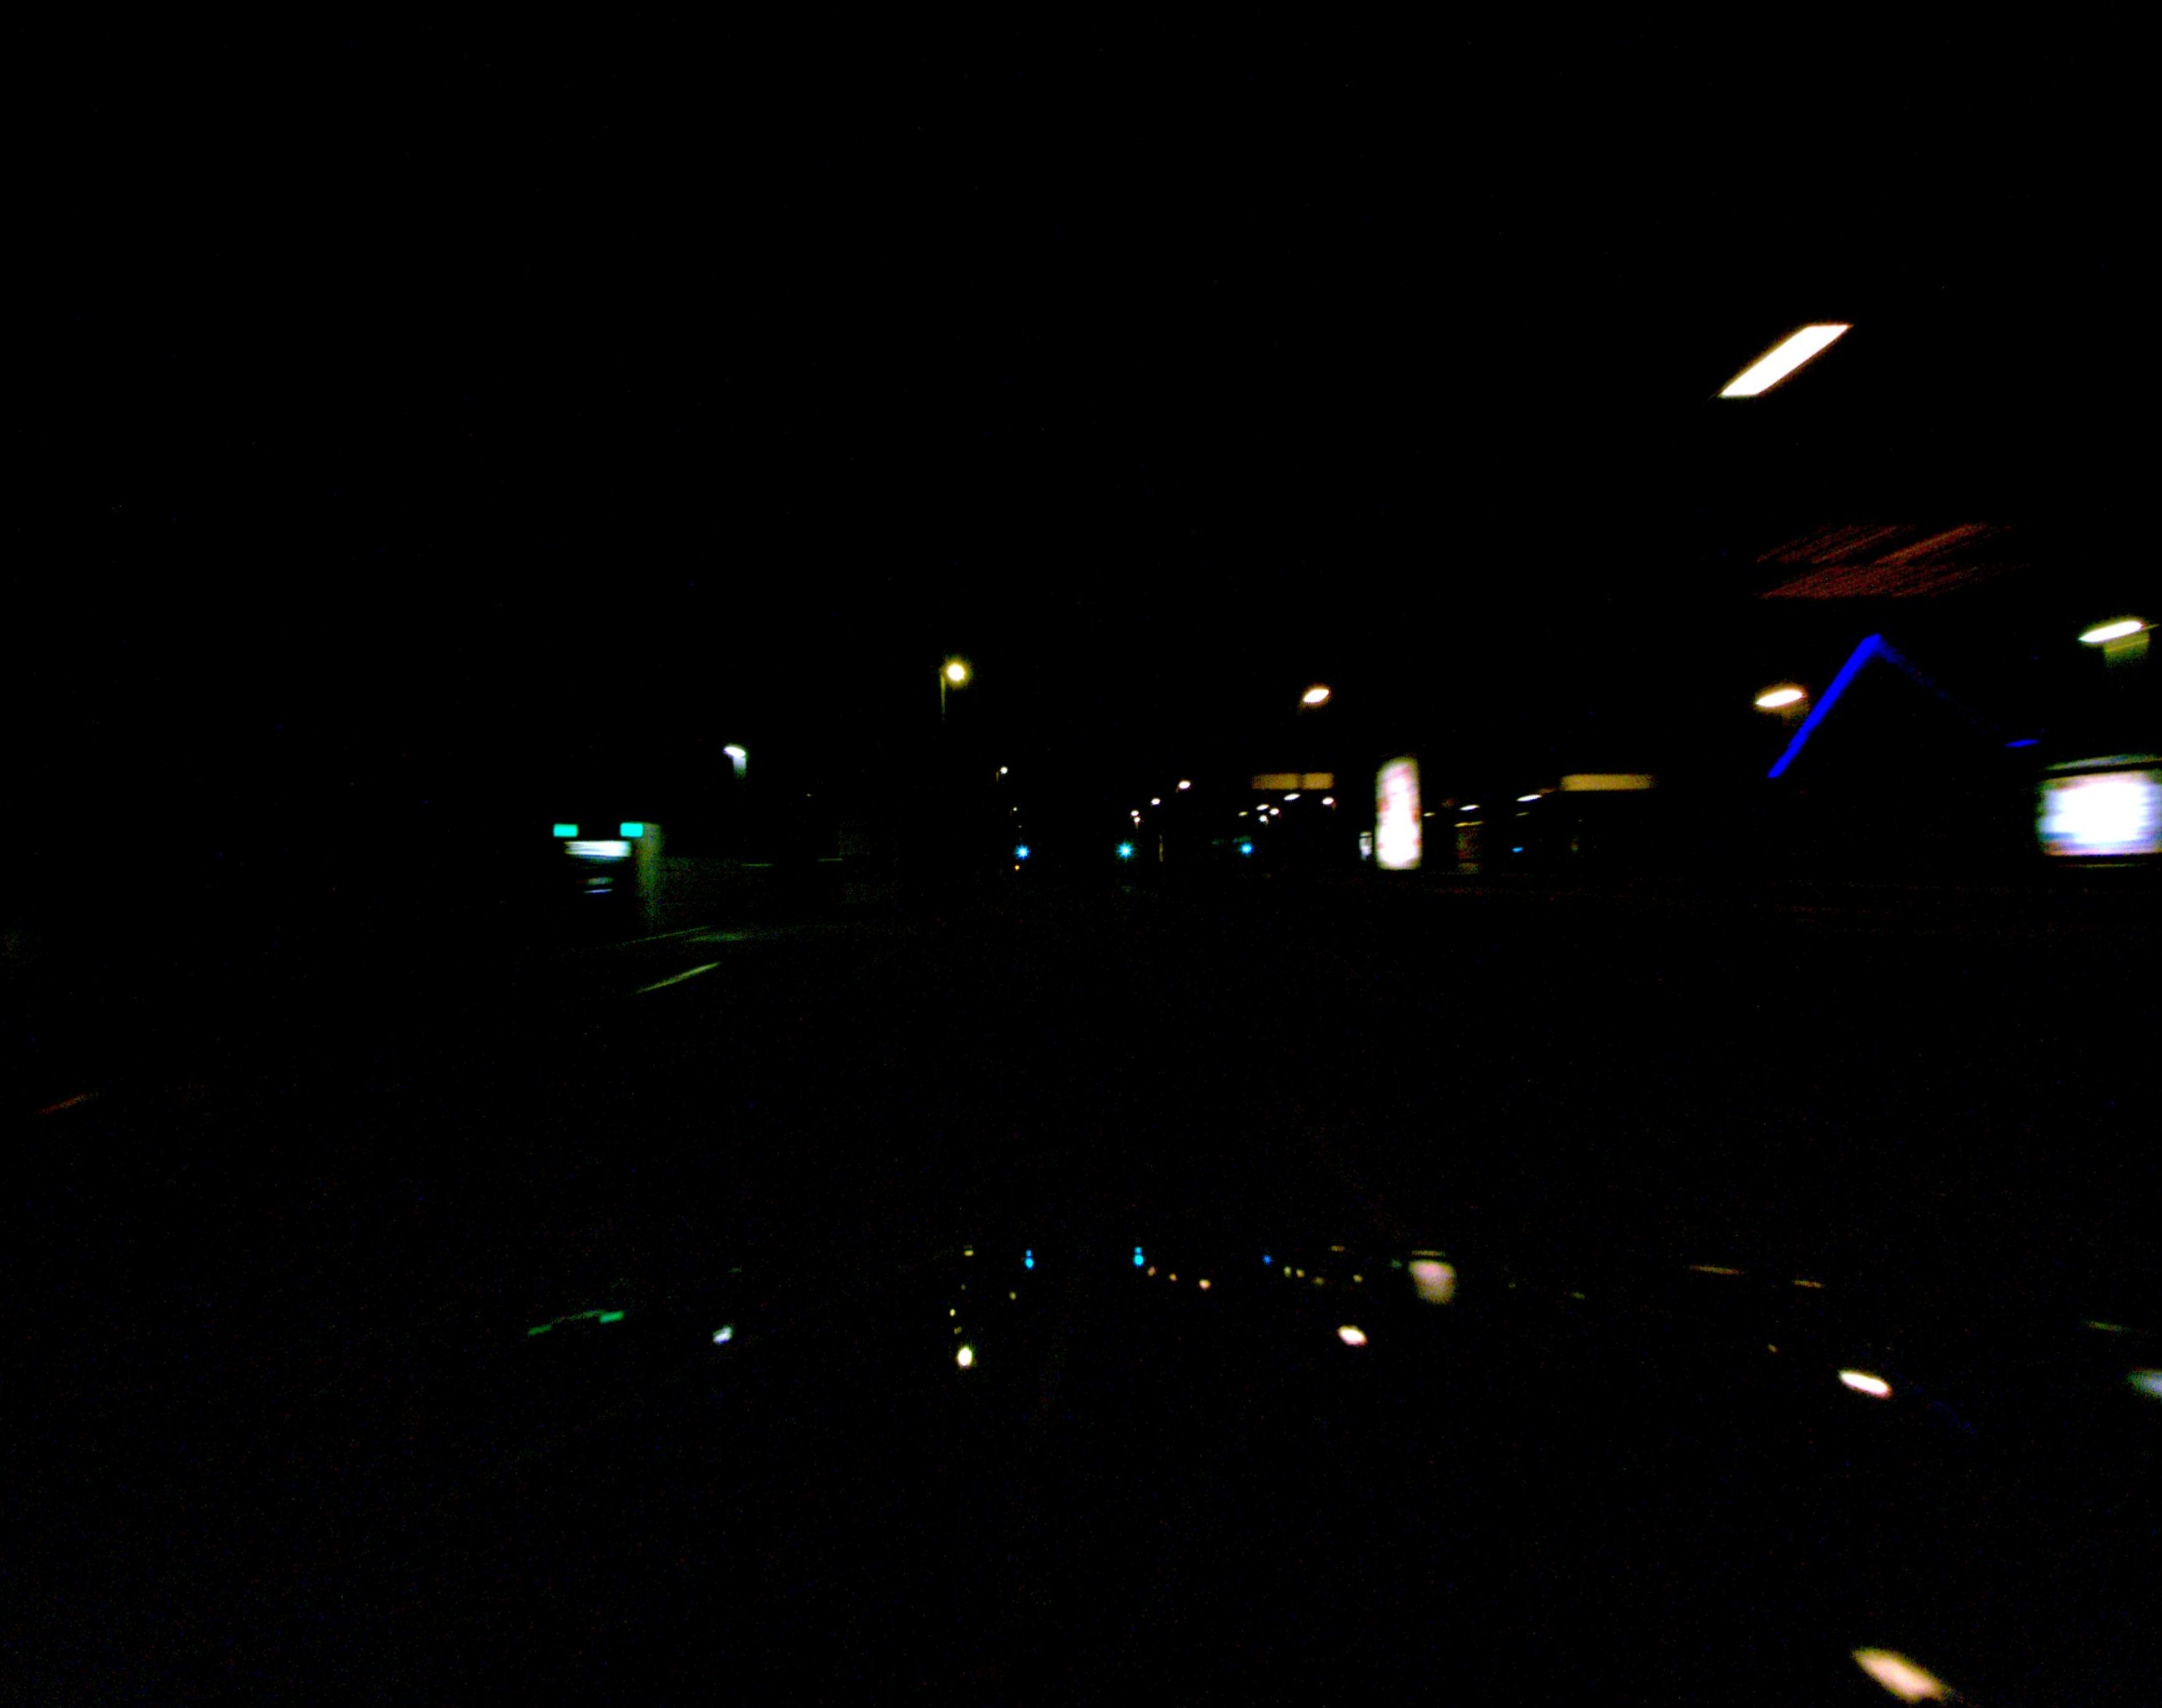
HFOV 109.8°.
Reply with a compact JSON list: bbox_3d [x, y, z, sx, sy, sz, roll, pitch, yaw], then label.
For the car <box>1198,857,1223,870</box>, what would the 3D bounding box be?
[{"bbox_3d":[14.518,1.066,85.498,1.871,1.496,4.093,0,-1,-5],"label":"car"}]
